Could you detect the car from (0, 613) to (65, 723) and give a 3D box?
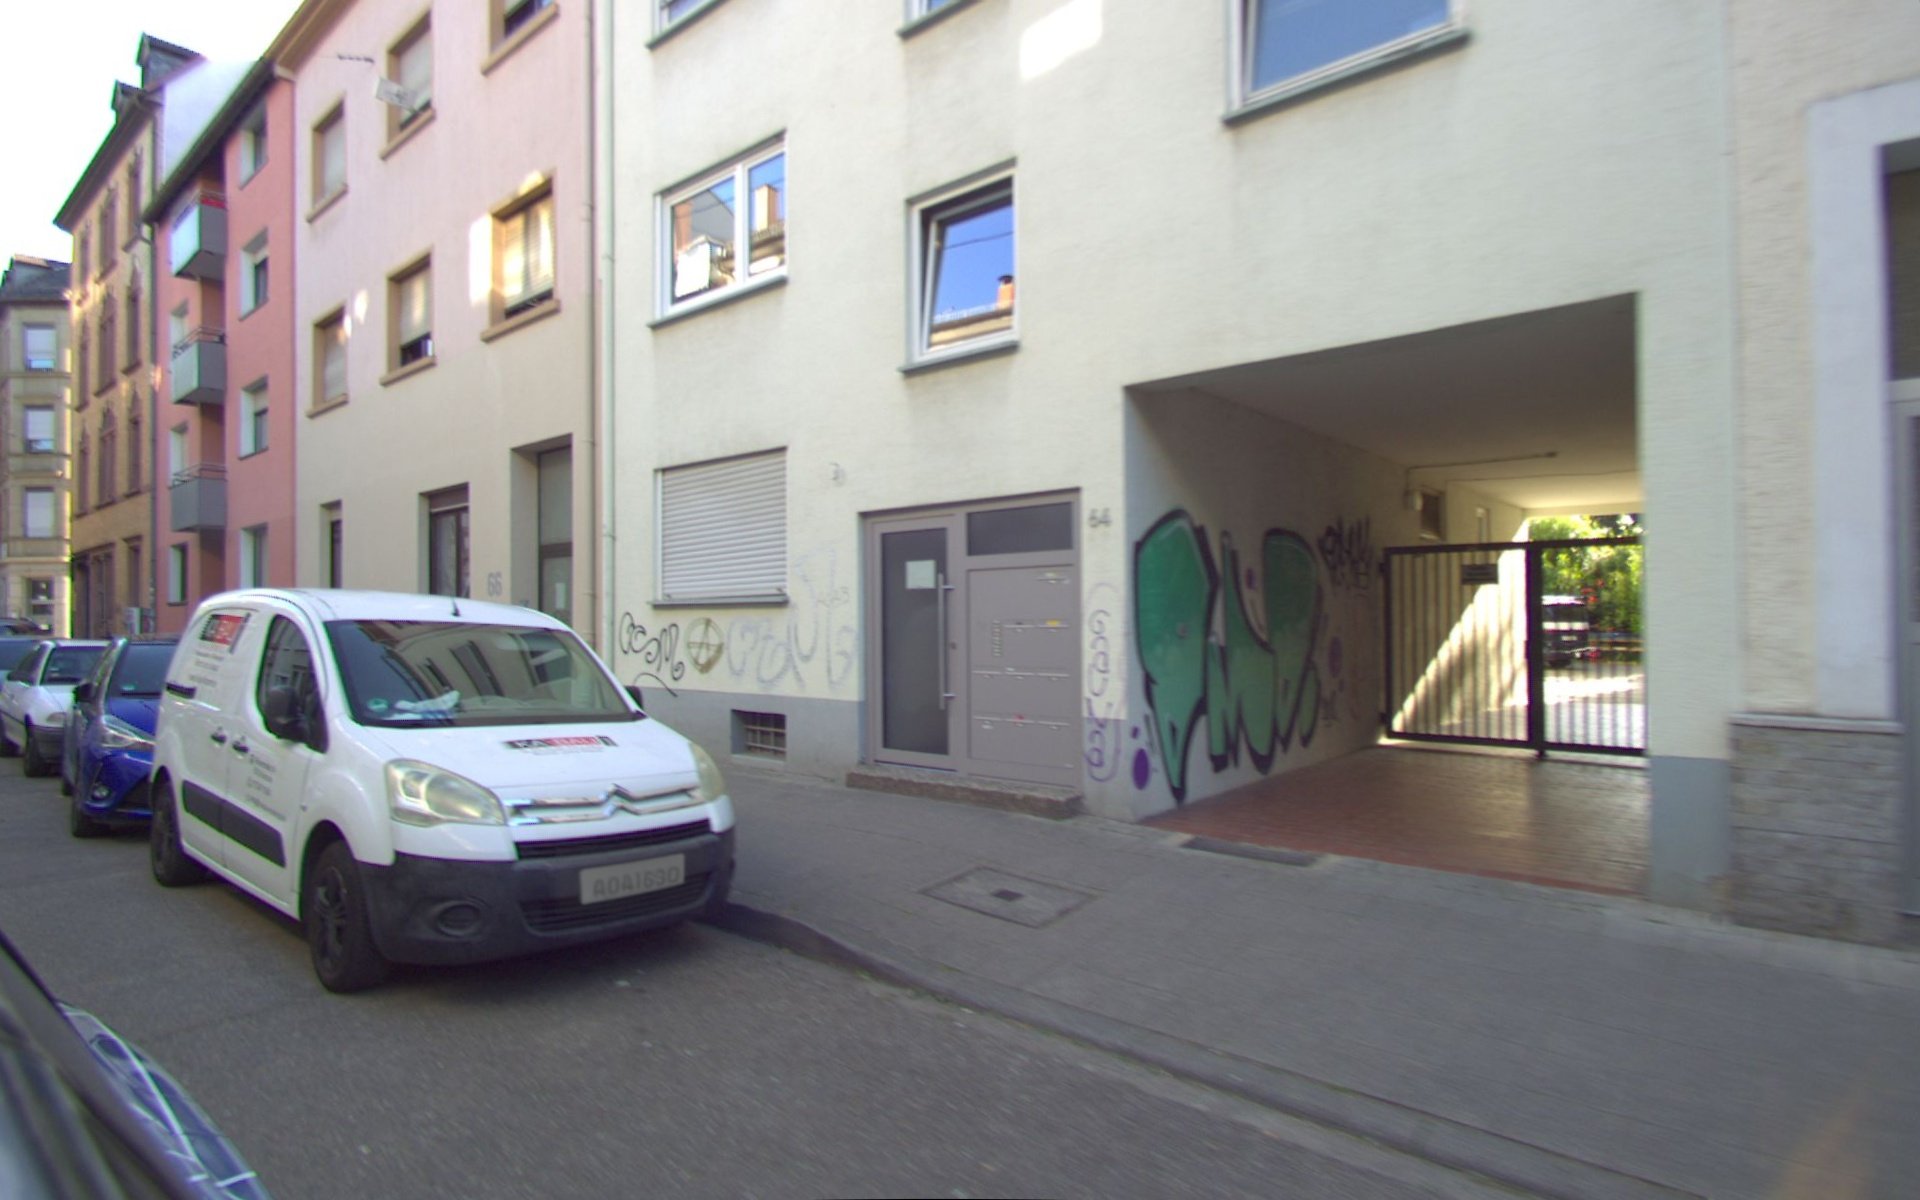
[{"bbox_3d":[-17.657,1.171,18.179,4.101,1.838,1.746,-1,-5,41],"label":"car"}]

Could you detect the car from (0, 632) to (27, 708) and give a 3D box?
[{"bbox_3d":[-21.336,1.435,21.488,4.101,1.545,1.746,-1,-4,41],"label":"car"}]

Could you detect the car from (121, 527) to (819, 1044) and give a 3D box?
[{"bbox_3d":[-2.898,0.714,5.517,4.311,1.754,1.732,-1,-5,40],"label":"car"}]

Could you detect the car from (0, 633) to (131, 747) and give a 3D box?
[{"bbox_3d":[-13.604,1.229,14.685,3.814,1.483,1.746,-1,-5,41],"label":"car"}]

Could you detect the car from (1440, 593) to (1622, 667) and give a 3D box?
[{"bbox_3d":[15.660,0.810,27.867,4.000,1.896,1.971,-2,-2,43],"label":"car"}]

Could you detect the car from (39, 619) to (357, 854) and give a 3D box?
[{"bbox_3d":[-6.711,0.997,8.738,1.651,1.539,4.088,5,-5,-43],"label":"car"}]

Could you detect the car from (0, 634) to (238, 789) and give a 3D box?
[{"bbox_3d":[-9.972,1.160,11.679,4.082,1.470,1.654,-1,-5,40],"label":"car"}]
